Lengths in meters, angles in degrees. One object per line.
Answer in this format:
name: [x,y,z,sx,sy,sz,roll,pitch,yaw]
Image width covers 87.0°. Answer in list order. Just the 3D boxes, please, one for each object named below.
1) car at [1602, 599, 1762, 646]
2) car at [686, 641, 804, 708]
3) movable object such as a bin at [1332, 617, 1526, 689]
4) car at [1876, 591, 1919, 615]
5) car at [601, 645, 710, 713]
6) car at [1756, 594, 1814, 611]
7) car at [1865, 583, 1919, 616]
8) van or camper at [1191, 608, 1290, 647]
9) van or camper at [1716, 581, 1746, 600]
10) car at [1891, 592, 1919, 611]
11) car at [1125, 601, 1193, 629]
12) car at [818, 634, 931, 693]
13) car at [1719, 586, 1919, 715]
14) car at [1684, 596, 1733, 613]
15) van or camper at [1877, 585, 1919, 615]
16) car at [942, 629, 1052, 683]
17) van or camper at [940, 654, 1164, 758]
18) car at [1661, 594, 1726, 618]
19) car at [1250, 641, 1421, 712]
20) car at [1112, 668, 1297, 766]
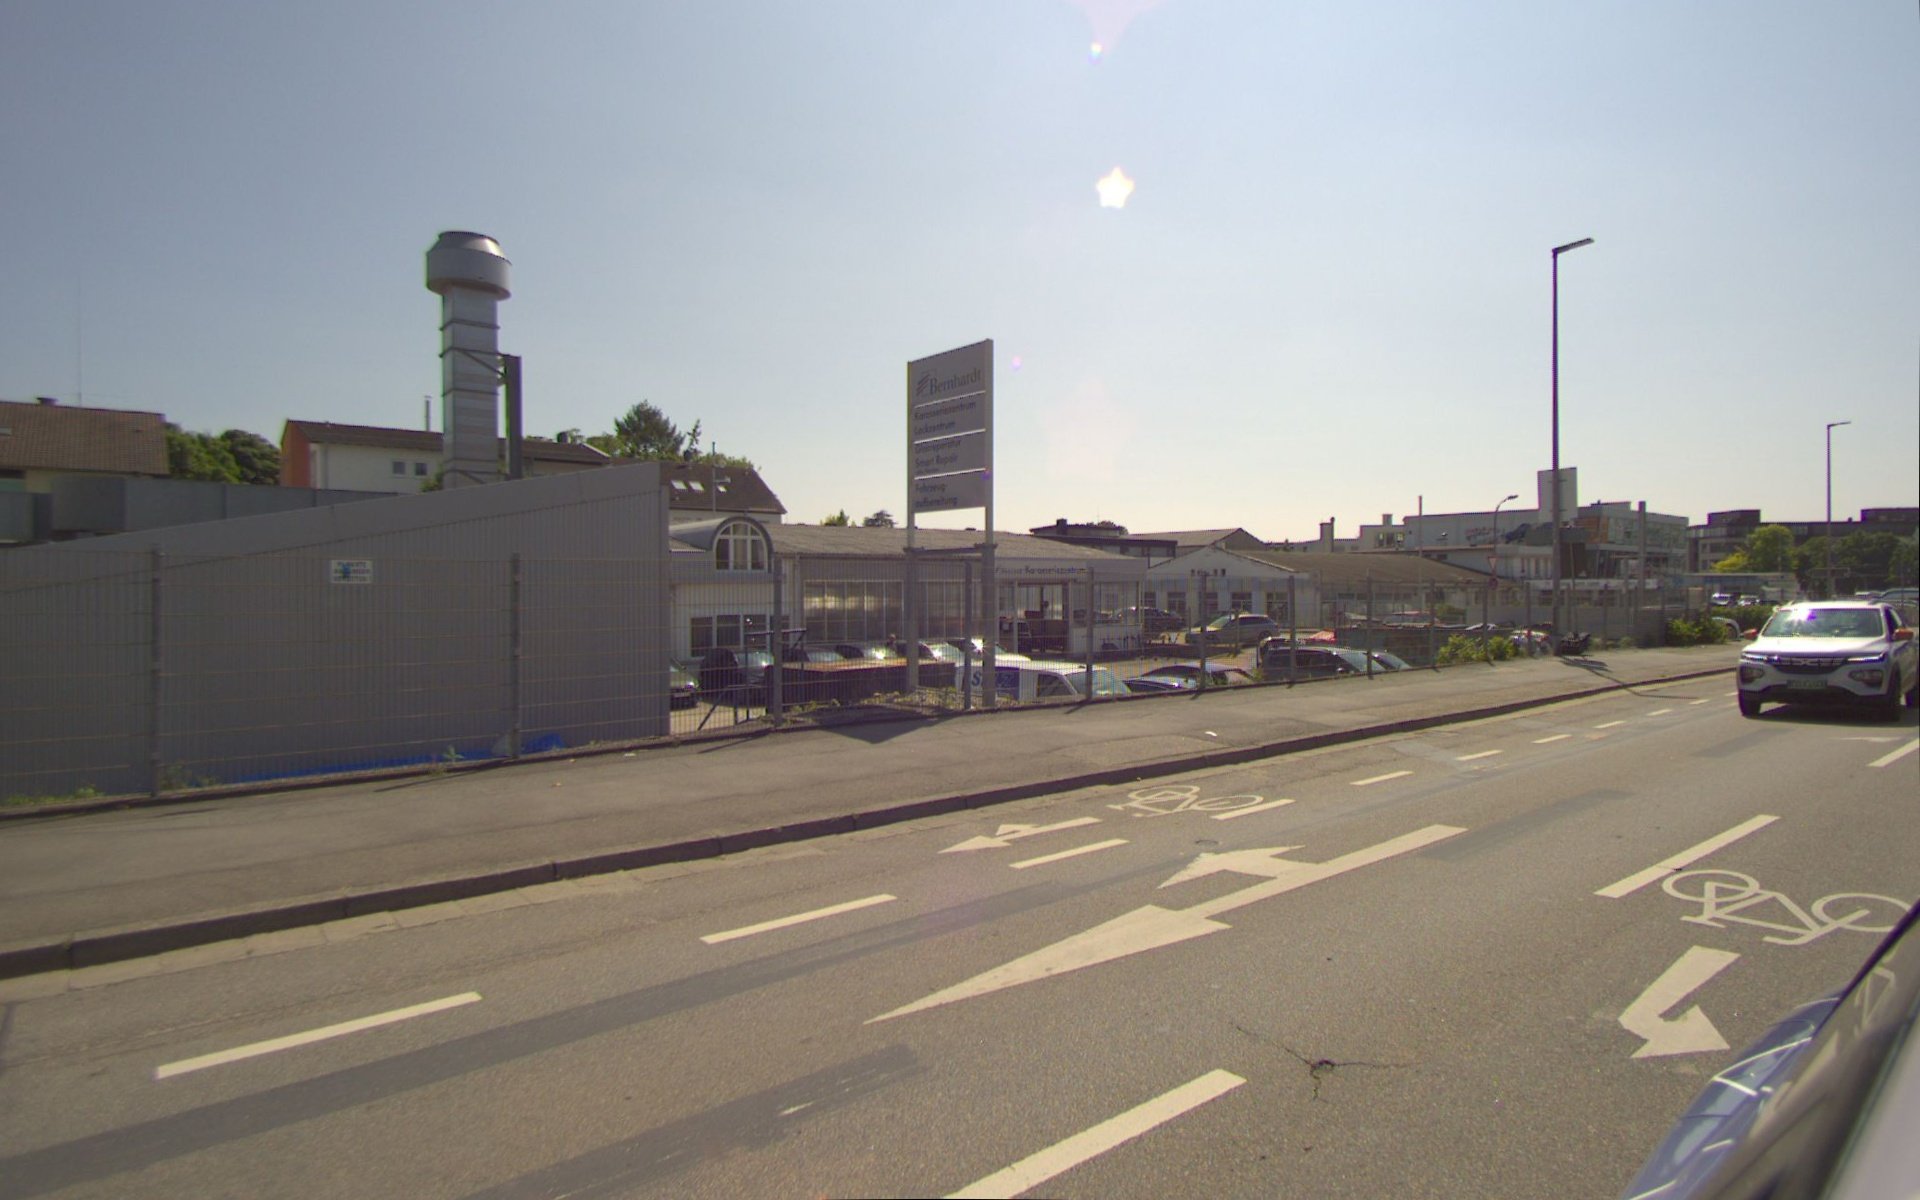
car: [25.214,0.788,35.413,4.404,1.376,1.960,-3,-3,-10]
car: [-6.918,2.313,32.335,1.966,1.682,3.992,0,2,-42]
movable object such as a bin: [14.628,1.647,31.843,1.965,2.040,5.123,0,-3,-40]
car: [84.221,0.290,88.969,1.965,1.976,5.244,0,1,-40]
car: [-9.462,2.367,31.299,1.829,1.683,3.995,0,1,-40]
car: [86.798,0.219,106.532,1.967,1.699,4.541,0,0,-43]
car: [85.819,-0.029,91.097,2.278,2.905,6.242,0,0,-39]
van or camper: [13.566,1.320,49.041,4.140,1.561,2.006,-1,5,-13]
van or camper: [87.129,-1.062,114.318,2.117,2.039,5.034,0,0,44]
car: [82.490,0.155,86.662,1.766,1.613,3.929,0,0,-40]
car: [13.098,0.996,66.820,1.967,1.817,3.990,1,-2,-43]
car: [-3.062,2.205,35.879,1.967,1.682,3.992,-3,3,-42]
car: [11.871,0.629,13.565,3.608,1.504,1.727,1,-2,-36]
car: [82.291,0.492,111.321,1.967,1.755,4.109,0,0,-43]
van or camper: [88.437,0.004,92.673,2.664,2.734,6.362,0,0,-40]
car: [1.364,2.085,38.631,1.967,1.682,3.992,-3,3,-42]
van or camper: [1.781,2.051,20.685,1.988,1.672,4.315,0,0,-44]
car: [78.034,0.575,107.760,2.288,2.449,5.300,0,0,-44]
car: [10.377,2.050,28.157,1.965,1.672,3.993,0,0,-41]
car: [5.930,2.775,24.915,1.965,2.040,3.992,0,-2,-41]
